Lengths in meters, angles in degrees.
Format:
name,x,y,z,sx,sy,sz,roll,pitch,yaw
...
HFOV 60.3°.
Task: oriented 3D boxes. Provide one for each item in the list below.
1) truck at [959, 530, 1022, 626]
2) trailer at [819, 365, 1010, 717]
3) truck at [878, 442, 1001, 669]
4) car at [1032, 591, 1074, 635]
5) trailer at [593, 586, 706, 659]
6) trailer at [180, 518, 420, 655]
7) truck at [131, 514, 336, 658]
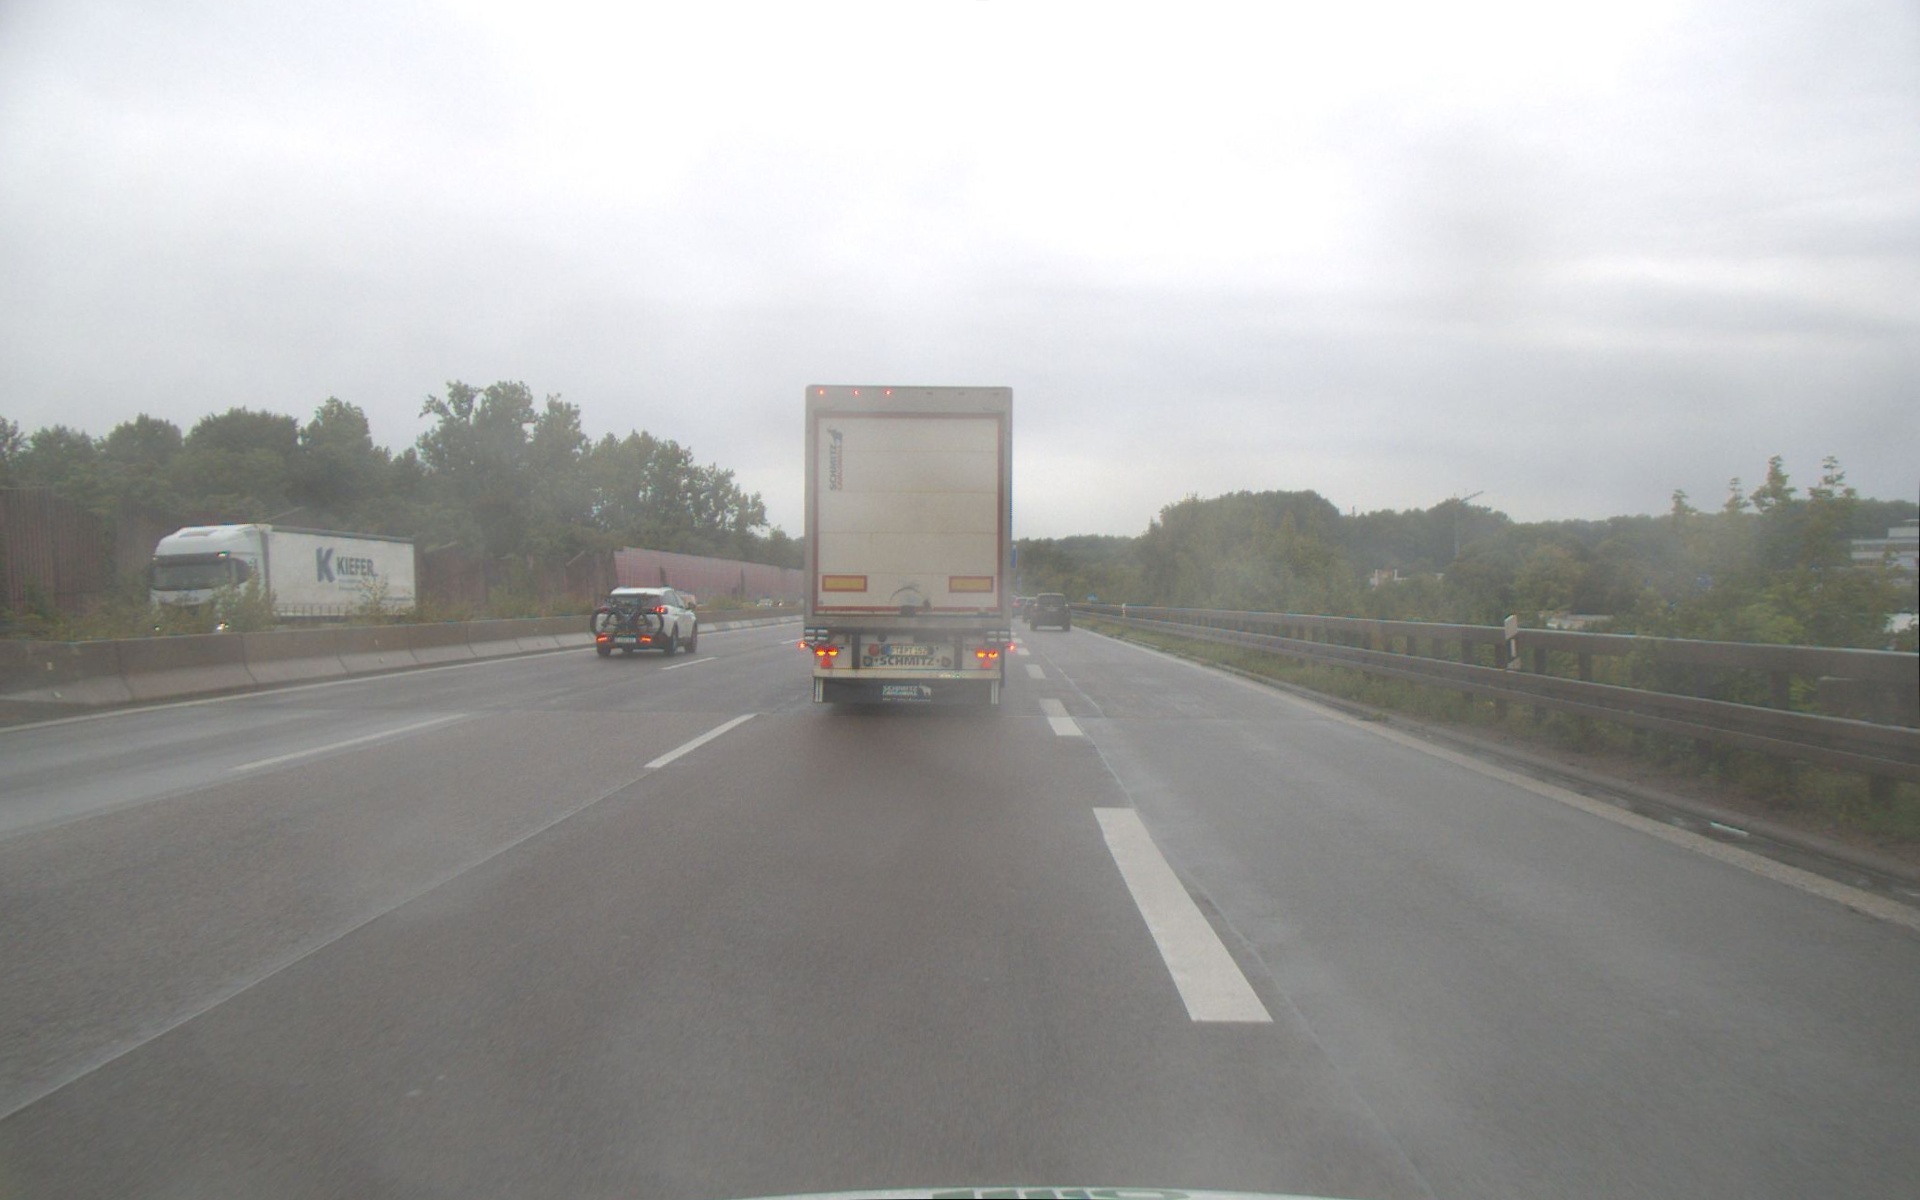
name,x,y,z,sx,sy,sz,roll,pitch,yaw
truck,1.791,-1.256,97.661,3.461,5.273,9.893,1,0,1
trailer,-0.446,-0.783,27.309,2.294,4.230,14.828,0,1,1
truck,-0.332,-0.862,34.084,2.294,4.230,6.347,0,0,1
car,4.314,0.586,77.071,1.858,1.983,4.001,1,0,2
trailer,-7.363,0.483,39.671,1.777,1.653,4.568,0,0,1
trailer,-23.152,-0.449,59.250,2.993,4.259,13.570,1,0,0
truck,-23.164,-0.431,53.296,2.993,4.259,7.888,1,0,0
